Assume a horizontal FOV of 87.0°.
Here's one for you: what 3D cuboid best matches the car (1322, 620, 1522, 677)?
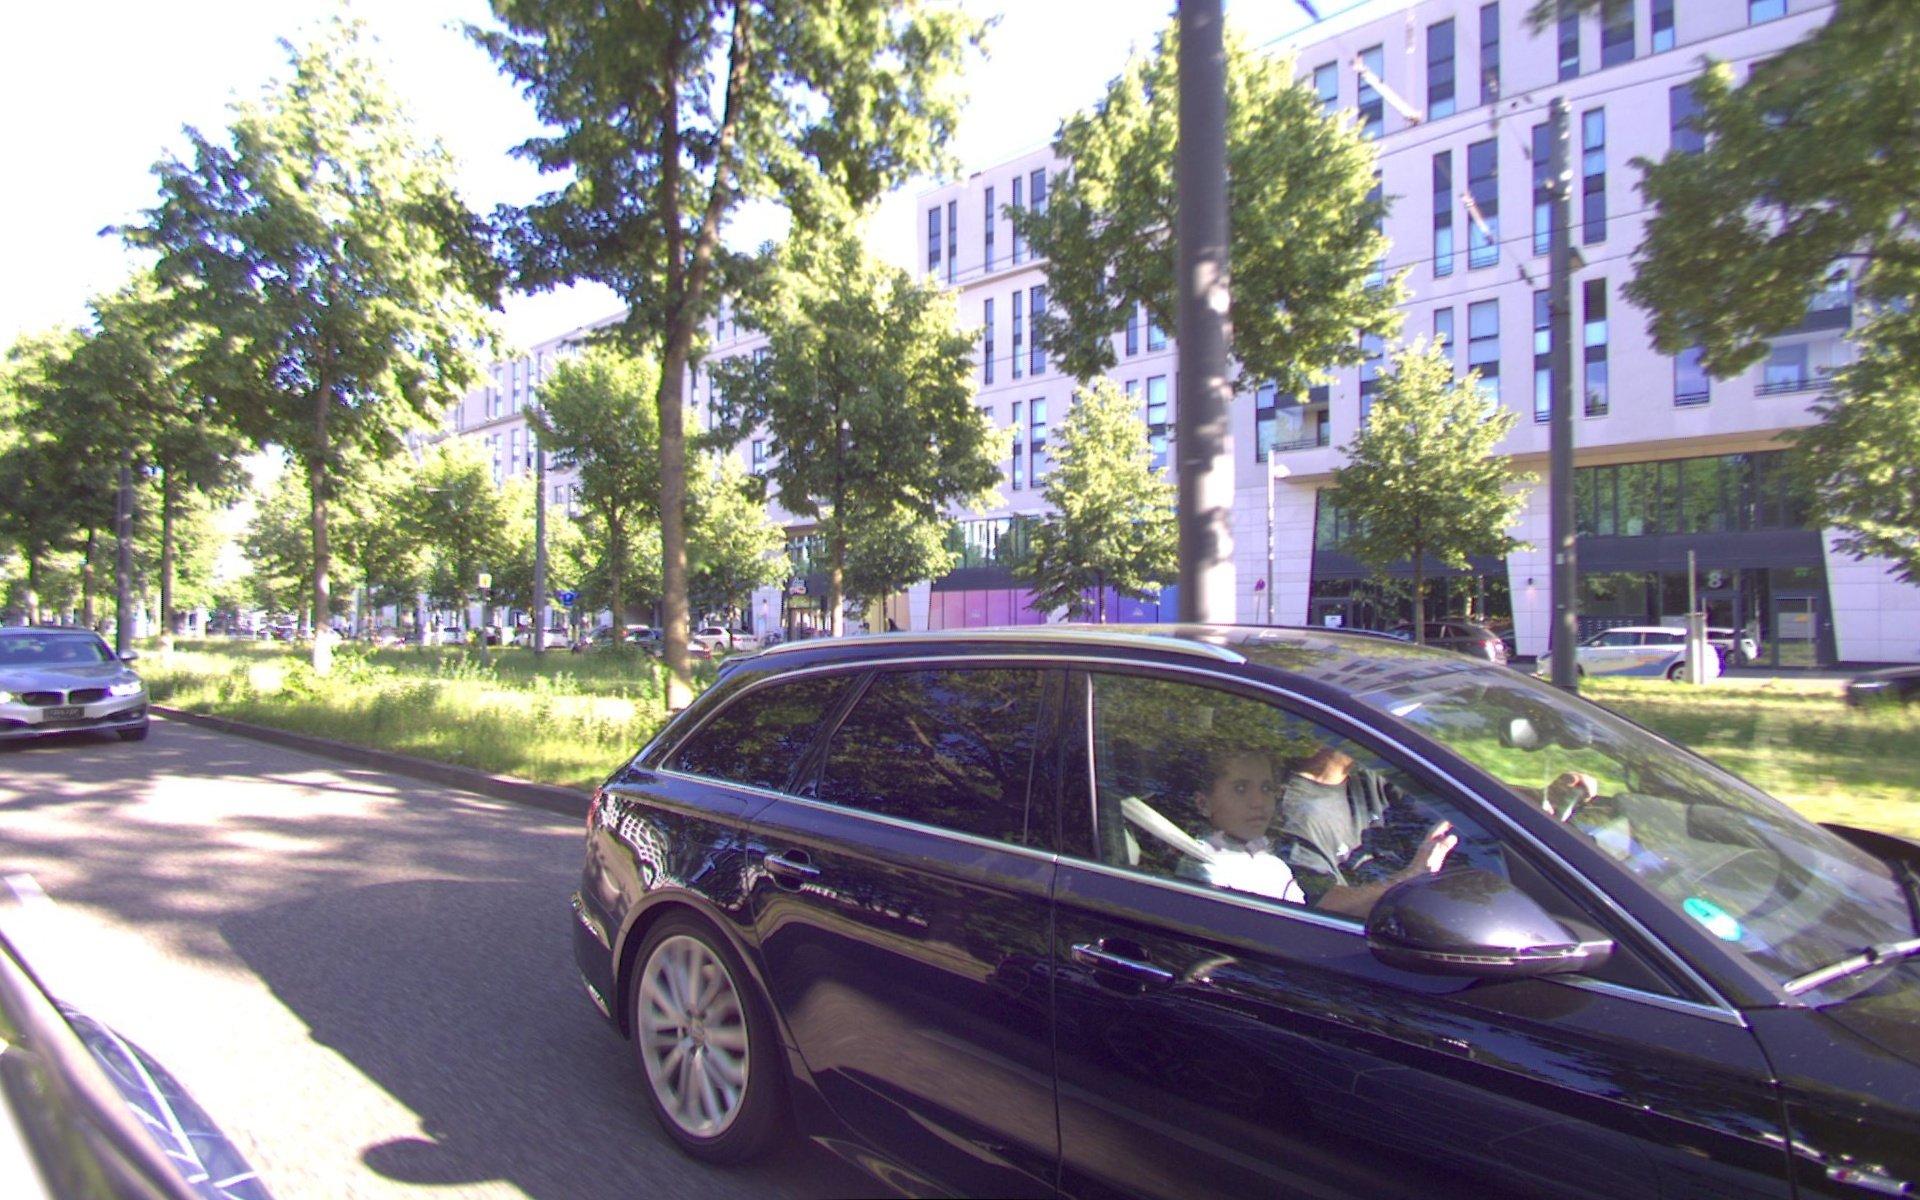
[{"bbox_3d":[13.288,1.336,29.251,4.931,1.452,1.974,-1,0,39],"label":"car"}]

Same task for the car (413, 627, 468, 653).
[{"bbox_3d":[-37.862,2.919,73.784,4.333,1.742,1.974,-1,0,39],"label":"car"}]

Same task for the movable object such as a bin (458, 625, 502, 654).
[{"bbox_3d":[-32.253,2.628,68.029,2.008,1.808,1.951,-1,0,38],"label":"movable object such as a bin"}]

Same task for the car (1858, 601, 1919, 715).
[{"bbox_3d":[14.335,0.734,12.755,4.457,1.452,1.971,-1,0,44],"label":"car"}]

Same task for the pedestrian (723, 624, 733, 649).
[{"bbox_3d":[-14.856,2.325,64.813,0.494,1.561,0.522,-1,0,-7],"label":"pedestrian"}]

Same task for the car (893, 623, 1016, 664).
[{"bbox_3d":[-0.256,1.705,40.735,4.773,1.452,1.974,-1,0,39],"label":"car"}]

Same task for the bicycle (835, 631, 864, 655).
[{"bbox_3d":[-6.027,2.332,55.330,1.606,1.290,0.592,-1,0,39],"label":"bicycle"}]

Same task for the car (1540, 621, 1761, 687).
[{"bbox_3d":[17.342,1.292,25.522,4.451,1.452,1.974,-1,0,39],"label":"car"}]

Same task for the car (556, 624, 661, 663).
[{"bbox_3d":[-14.633,1.776,42.048,4.698,1.452,1.974,-1,0,40],"label":"car"}]

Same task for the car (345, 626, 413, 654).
[{"bbox_3d":[-34.373,2.338,59.793,5.109,1.452,1.972,-1,0,42],"label":"car"}]

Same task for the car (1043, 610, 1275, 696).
[{"bbox_3d":[4.699,1.224,24.523,5.248,1.855,1.973,-2,-2,41],"label":"car"}]

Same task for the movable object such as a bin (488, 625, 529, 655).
[{"bbox_3d":[-29.249,2.582,65.609,1.554,1.808,1.951,-1,0,39],"label":"movable object such as a bin"}]

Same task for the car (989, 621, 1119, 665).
[{"bbox_3d":[3.401,1.533,37.230,4.453,1.452,1.973,-1,0,41],"label":"car"}]

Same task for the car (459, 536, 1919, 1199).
[{"bbox_3d":[0.989,0.719,2.323,5.079,1.492,1.933,-3,-2,39],"label":"car"}]

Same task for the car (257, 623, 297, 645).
[{"bbox_3d":[-66.412,3.291,98.344,4.548,2.029,1.974,-1,-2,39],"label":"car"}]

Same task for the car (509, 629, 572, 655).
[{"bbox_3d":[-26.276,2.608,63.332,4.015,1.452,1.974,-1,0,39],"label":"car"}]

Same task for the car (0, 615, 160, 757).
[{"bbox_3d":[-12.203,1.016,13.348,4.276,1.590,1.862,-1,0,41],"label":"car"}]

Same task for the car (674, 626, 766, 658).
[{"bbox_3d":[-12.294,2.114,51.643,4.920,1.452,1.974,-1,0,39],"label":"car"}]

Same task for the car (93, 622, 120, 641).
[{"bbox_3d":[-101.011,3.716,119.758,4.001,2.029,1.971,-1,0,44],"label":"car"}]

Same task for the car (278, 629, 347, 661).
[{"bbox_3d":[-37.355,2.549,58.318,5.107,1.698,1.973,-1,0,41],"label":"car"}]

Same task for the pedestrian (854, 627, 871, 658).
[{"bbox_3d":[-5.437,2.364,56.381,0.719,1.663,0.629,-1,0,39],"label":"pedestrian"}]

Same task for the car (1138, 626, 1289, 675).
[{"bbox_3d":[8.349,1.621,33.493,4.451,1.452,1.974,-1,0,39],"label":"car"}]

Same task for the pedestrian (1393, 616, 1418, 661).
[{"bbox_3d":[16.809,1.447,38.182,0.719,1.663,0.629,-1,0,39],"label":"pedestrian"}]

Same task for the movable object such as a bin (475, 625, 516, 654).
[{"bbox_3d":[-30.626,2.603,66.770,1.554,1.808,1.951,-1,0,39],"label":"movable object such as a bin"}]

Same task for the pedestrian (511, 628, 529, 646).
[{"bbox_3d":[-36.527,3.090,84.039,1.024,1.479,0.939,-1,0,32],"label":"pedestrian"}]

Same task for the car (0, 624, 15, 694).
[{"bbox_3d":[-23.349,1.362,23.393,4.000,1.534,1.925,-1,0,43],"label":"car"}]

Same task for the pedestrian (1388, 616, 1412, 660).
[{"bbox_3d":[16.997,1.441,39.083,0.718,1.663,0.630,-1,0,34],"label":"pedestrian"}]
